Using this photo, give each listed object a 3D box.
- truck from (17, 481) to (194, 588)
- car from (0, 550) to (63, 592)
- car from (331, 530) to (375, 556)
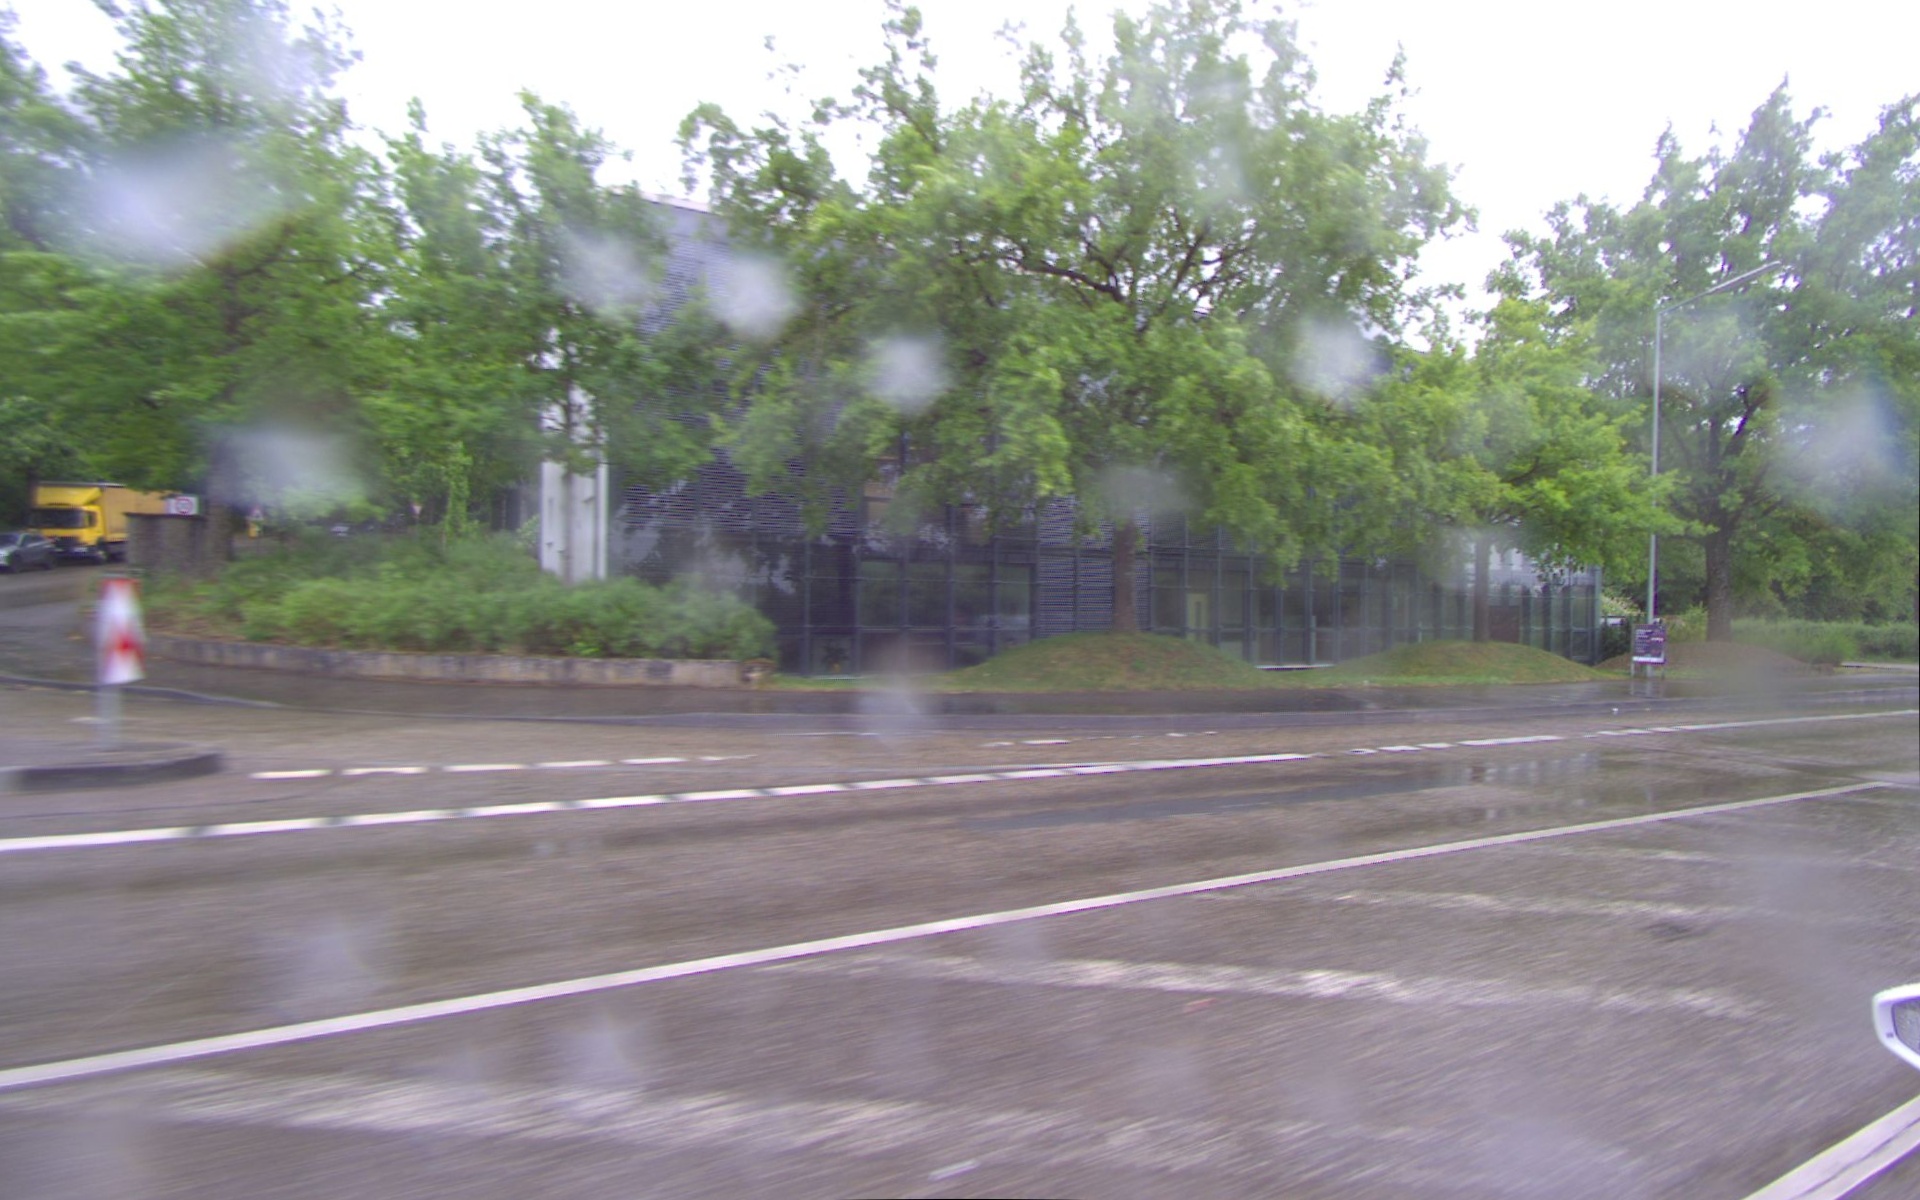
[{"bbox_3d":[-42.320,-3.096,50.327,2.772,4.717,10.649,1,2,-17],"label":"truck"},{"bbox_3d":[-39.547,-1.248,41.987,1.453,1.674,3.870,1,2,-15],"label":"car"},{"bbox_3d":[-43.777,-4.090,72.521,1.771,1.786,3.983,1,3,-18],"label":"car"}]
